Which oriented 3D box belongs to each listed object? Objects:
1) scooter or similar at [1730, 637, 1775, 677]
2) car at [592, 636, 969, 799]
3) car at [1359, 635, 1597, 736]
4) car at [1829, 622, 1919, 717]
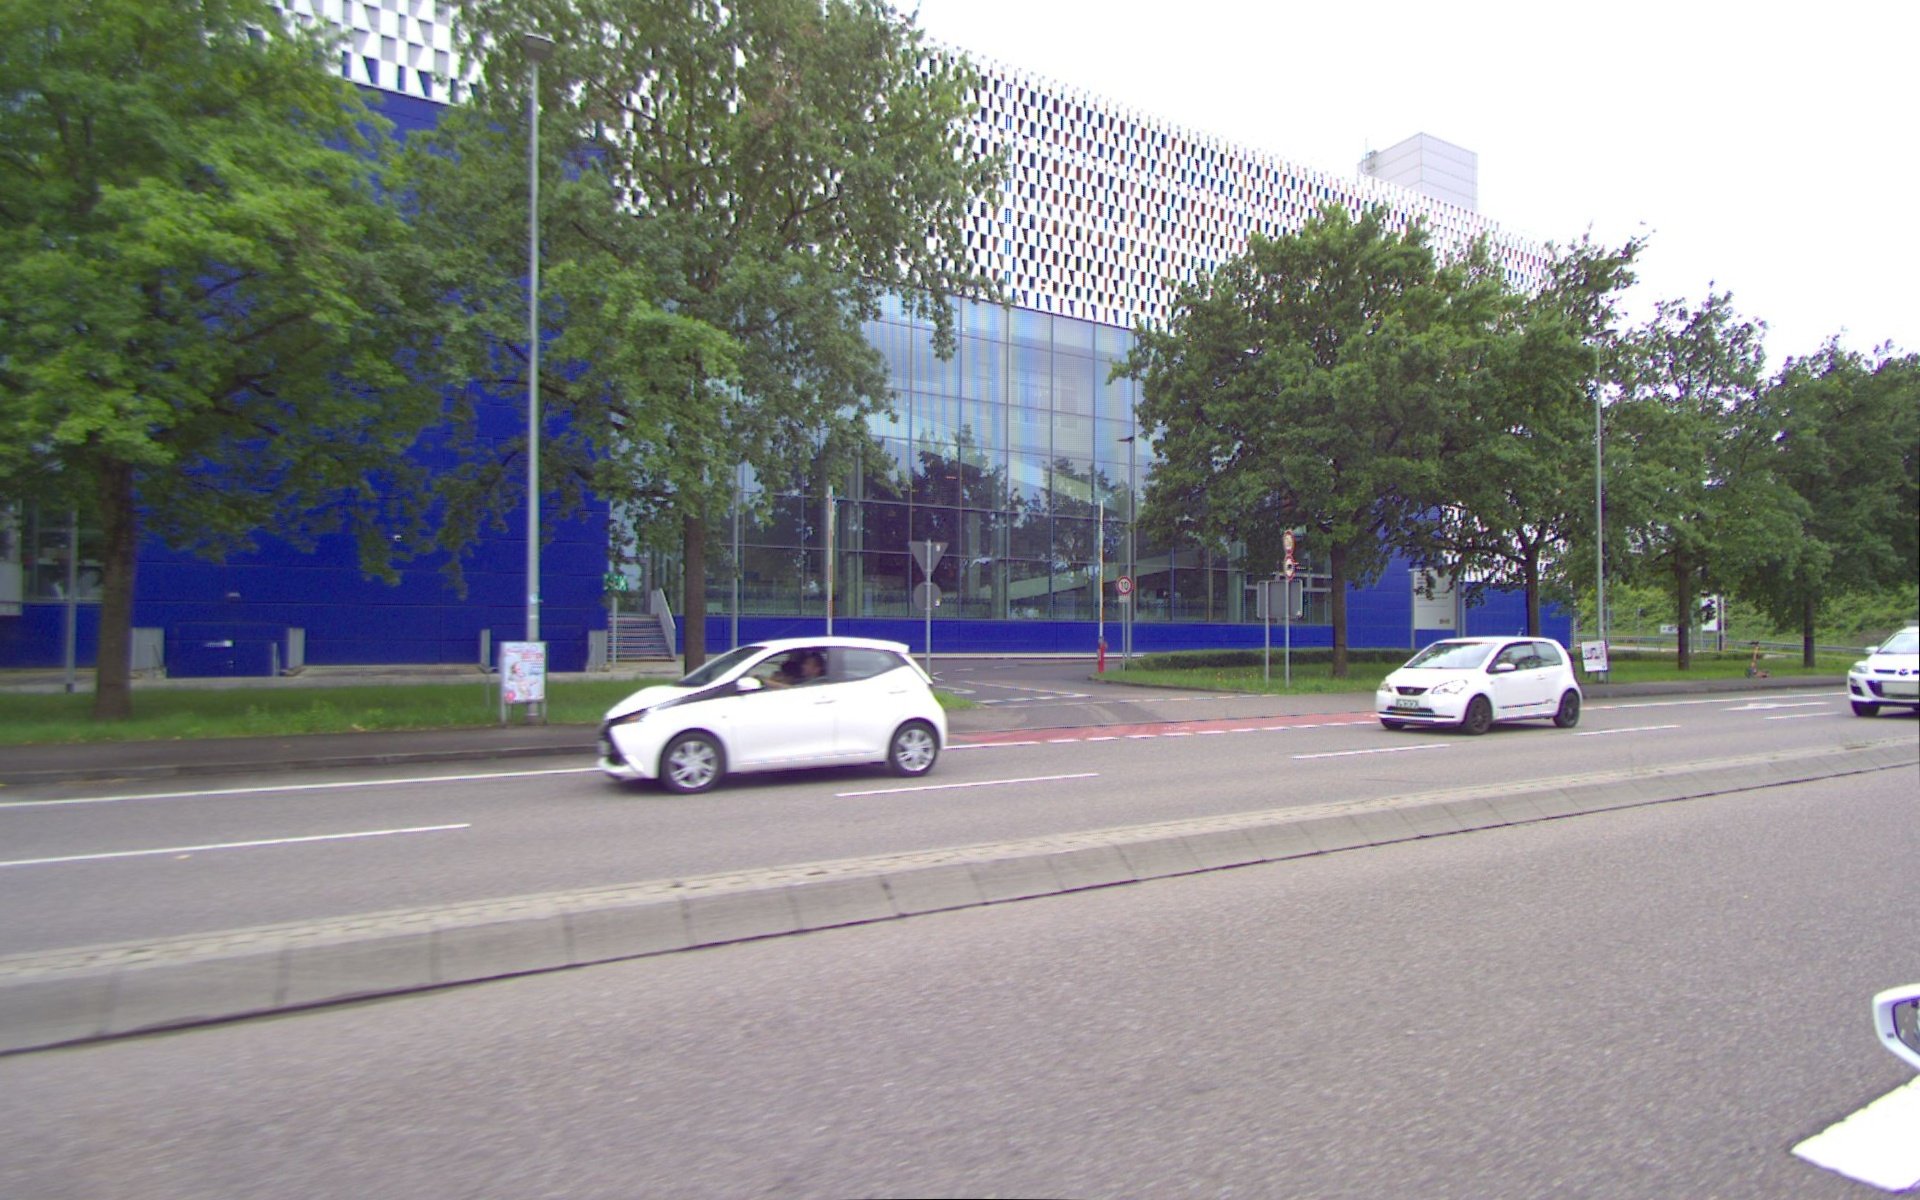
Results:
[{"bbox_3d":[26.690,1.910,33.824,1.482,1.339,0.446,1,-2,-20],"label":"scooter or similar"},{"bbox_3d":[-1.840,1.107,10.494,3.569,1.441,1.617,1,-3,-30],"label":"car"},{"bbox_3d":[8.401,1.322,16.273,3.605,1.447,1.670,1,-3,-28],"label":"car"},{"bbox_3d":[18.006,1.223,18.358,4.459,1.607,1.810,1,-4,-30],"label":"car"}]
